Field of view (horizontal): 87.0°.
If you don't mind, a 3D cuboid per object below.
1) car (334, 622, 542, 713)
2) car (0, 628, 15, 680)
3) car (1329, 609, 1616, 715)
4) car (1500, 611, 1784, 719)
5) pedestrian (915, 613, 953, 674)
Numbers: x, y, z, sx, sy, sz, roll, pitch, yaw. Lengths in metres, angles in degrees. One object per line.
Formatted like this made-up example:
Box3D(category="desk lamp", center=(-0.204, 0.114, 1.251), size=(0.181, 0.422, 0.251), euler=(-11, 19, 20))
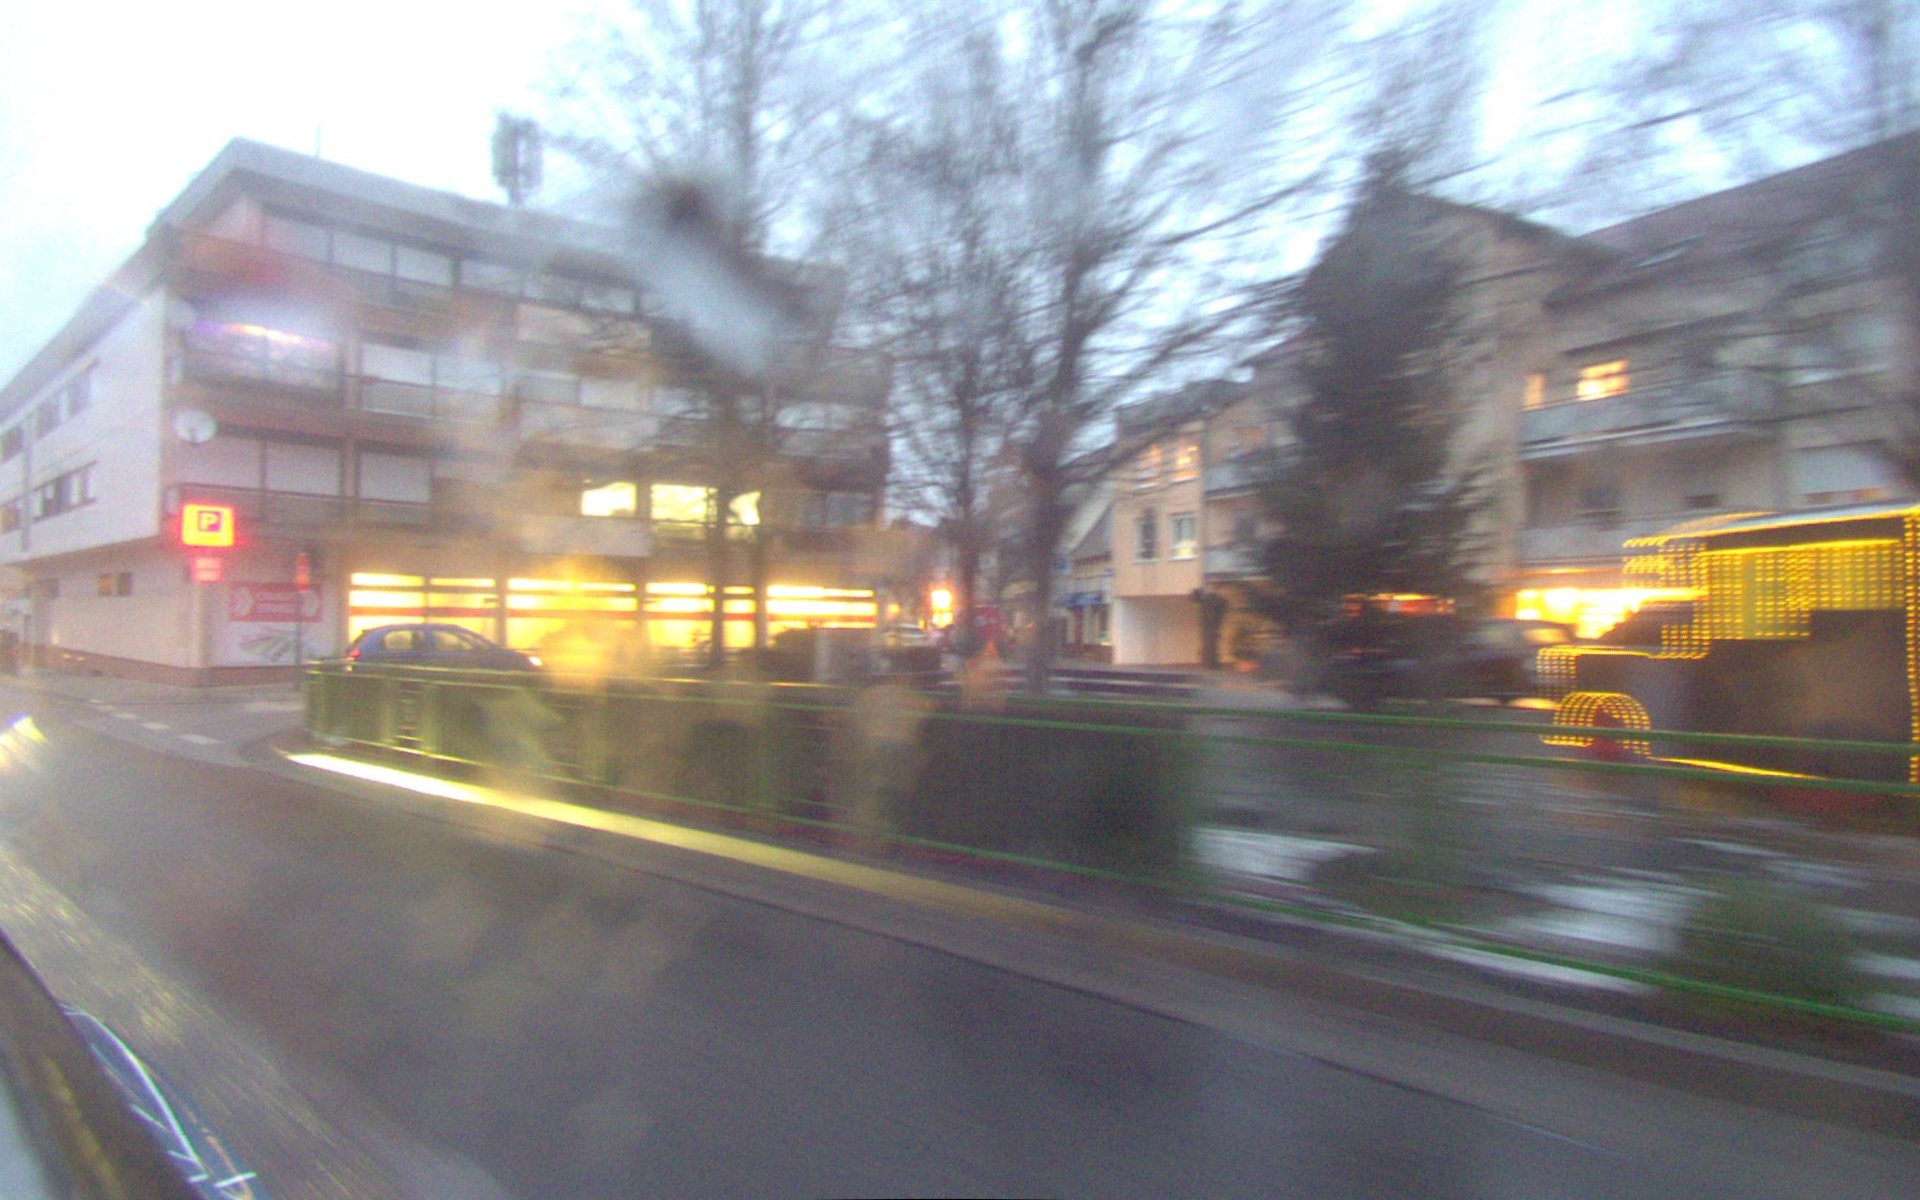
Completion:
Box3D(category="car", center=(-9.794, 1.202, 19.070), size=(3.257, 1.519, 1.505), euler=(0, -1, -38))
Box3D(category="car", center=(-32.293, 1.767, 32.965), size=(3.825, 1.629, 1.875), euler=(-2, -2, 42))
Box3D(category="car", center=(8.302, 0.945, 16.467), size=(3.931, 1.519, 1.928), euler=(0, -2, -19))
Box3D(category="car", center=(9.514, 0.853, 14.162), size=(3.269, 1.339, 1.619), euler=(0, -2, -19))
Box3D(category="pedestrian", center=(-0.595, 0.970, 22.940), size=(0.611, 1.349, 0.569), euler=(0, -2, -37))
